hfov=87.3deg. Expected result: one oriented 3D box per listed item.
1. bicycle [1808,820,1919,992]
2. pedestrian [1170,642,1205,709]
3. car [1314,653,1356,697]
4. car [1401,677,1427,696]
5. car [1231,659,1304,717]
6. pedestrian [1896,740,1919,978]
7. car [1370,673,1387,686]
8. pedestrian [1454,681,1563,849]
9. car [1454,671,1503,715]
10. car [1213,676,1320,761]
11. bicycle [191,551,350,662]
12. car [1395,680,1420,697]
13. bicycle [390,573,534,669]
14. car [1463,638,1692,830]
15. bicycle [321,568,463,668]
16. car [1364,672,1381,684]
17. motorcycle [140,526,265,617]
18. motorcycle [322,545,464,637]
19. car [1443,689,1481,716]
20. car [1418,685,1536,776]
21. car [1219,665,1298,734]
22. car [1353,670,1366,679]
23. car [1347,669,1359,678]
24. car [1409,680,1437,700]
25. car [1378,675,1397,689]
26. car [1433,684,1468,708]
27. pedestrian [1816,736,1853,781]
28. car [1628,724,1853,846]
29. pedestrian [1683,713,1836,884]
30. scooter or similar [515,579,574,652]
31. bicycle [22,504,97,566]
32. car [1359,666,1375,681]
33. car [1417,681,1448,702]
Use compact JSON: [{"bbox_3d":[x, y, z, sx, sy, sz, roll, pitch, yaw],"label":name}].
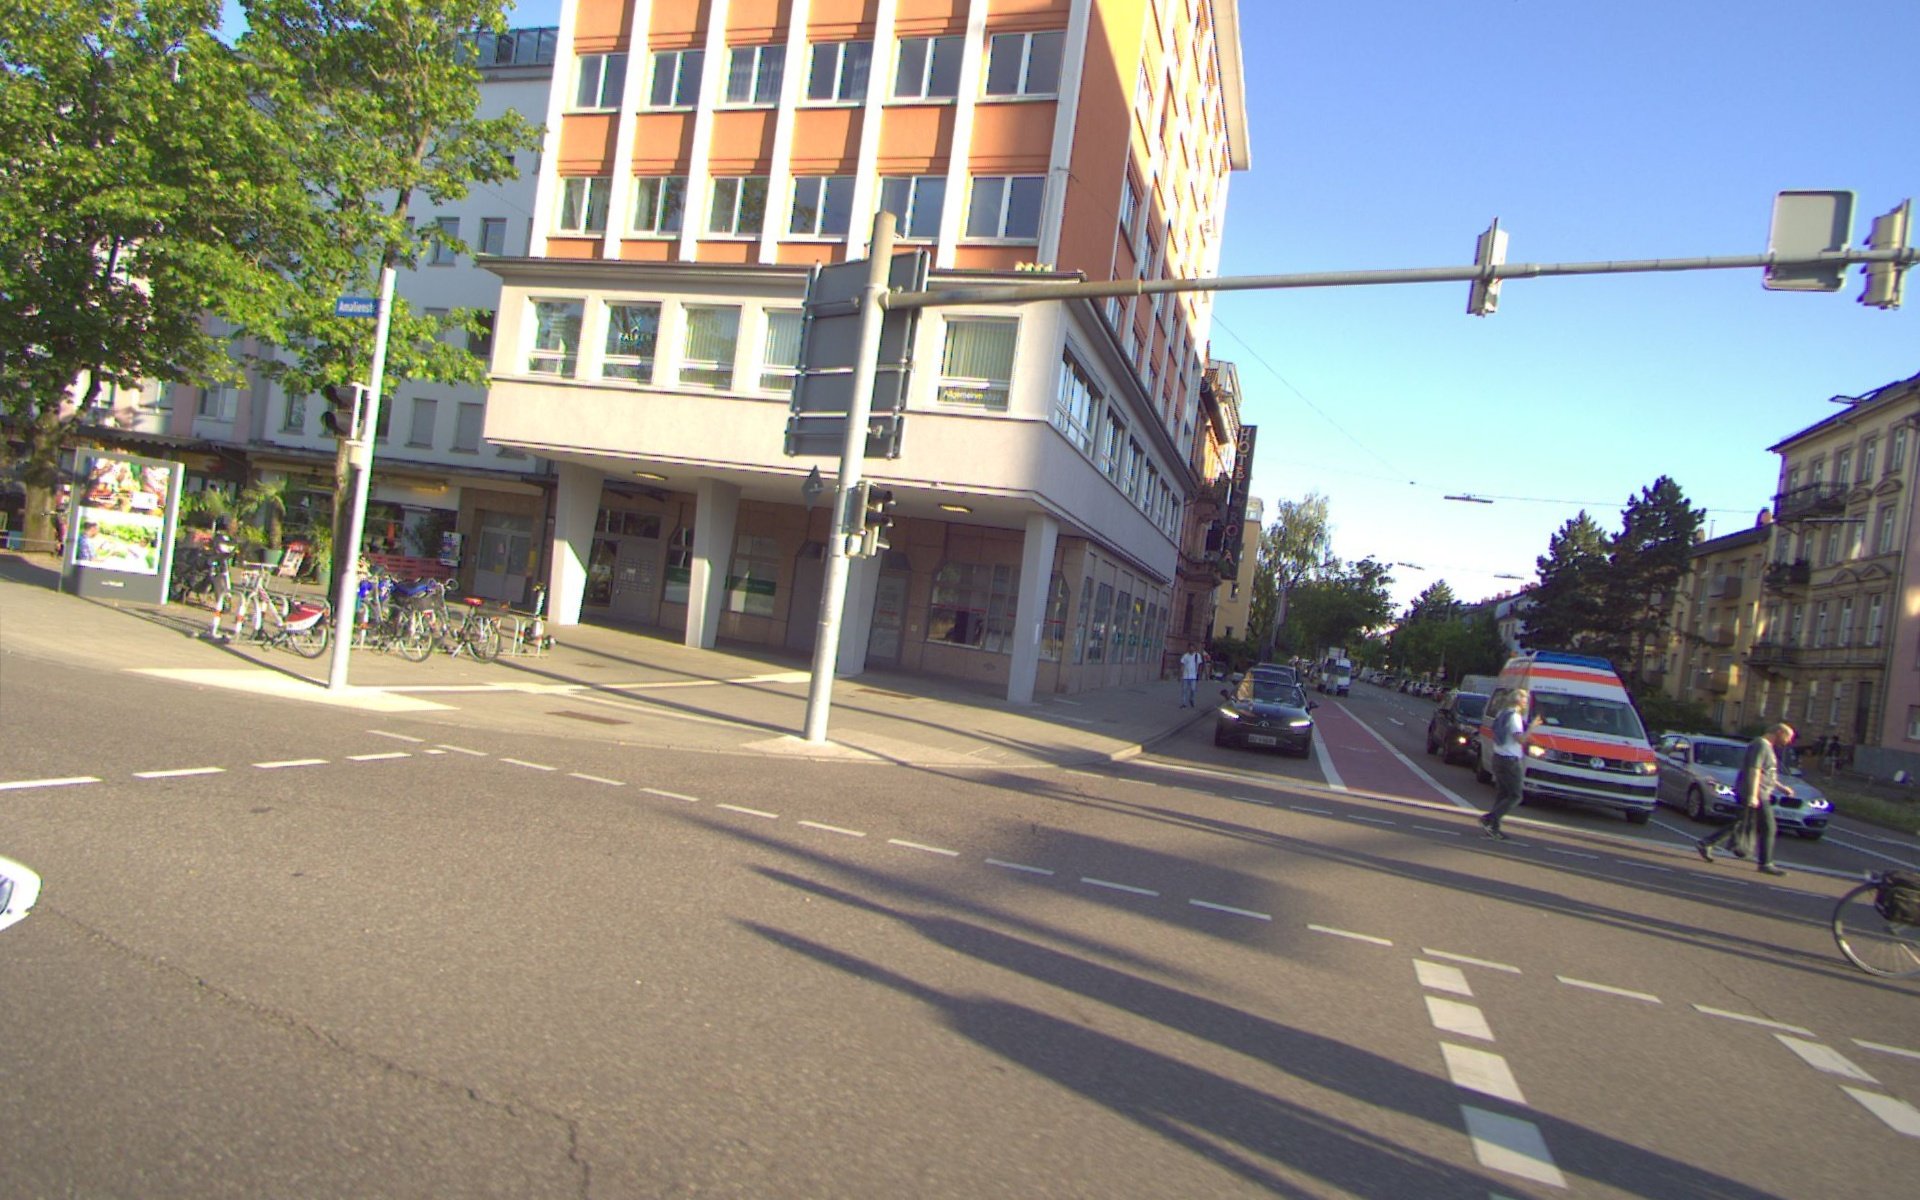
[{"bbox_3d":[6.941,2.166,6.709,1.817,0.992,0.522,6,0,25],"label":"bicycle"},{"bbox_3d":[6.397,2.114,28.226,0.628,1.778,0.819,8,0,21],"label":"pedestrian"},{"bbox_3d":[25.405,5.063,68.378,2.085,2.553,6.434,8,-1,18],"label":"car"},{"bbox_3d":[48.862,9.320,108.358,1.840,1.615,3.849,8,-1,17],"label":"car"},{"bbox_3d":[10.629,2.986,34.588,1.963,1.593,4.001,8,-1,21],"label":"car"},{"bbox_3d":[6.964,1.807,6.718,0.748,1.609,0.677,6,0,25],"label":"pedestrian"},{"bbox_3d":[64.846,12.273,155.803,1.840,1.615,3.849,8,-1,17],"label":"car"},{"bbox_3d":[6.194,1.838,11.407,0.797,1.722,0.570,8,1,20],"label":"pedestrian"},{"bbox_3d":[37.978,6.760,73.826,2.051,2.754,4.550,8,0,17],"label":"car"},{"bbox_3d":[6.569,2.398,21.220,1.806,1.356,4.678,5,-2,20],"label":"car"},{"bbox_3d":[-8.897,0.082,12.987,1.839,1.140,0.647,9,1,20],"label":"bicycle"},{"bbox_3d":[50.829,10.057,114.363,1.840,1.615,3.849,8,-1,17],"label":"car"},{"bbox_3d":[-7.819,0.329,15.783,2.085,1.172,0.647,9,1,20],"label":"bicycle"},{"bbox_3d":[10.265,2.099,17.248,1.890,2.512,5.270,8,-1,18],"label":"car"},{"bbox_3d":[-8.202,0.258,14.520,1.839,1.140,0.647,9,1,20],"label":"bicycle"},{"bbox_3d":[67.120,12.750,163.713,1.840,1.615,3.849,8,-1,17],"label":"car"},{"bbox_3d":[-12.907,-0.486,17.125,2.161,1.257,0.668,8,0,25],"label":"motorcycle"},{"bbox_3d":[-10.214,-0.126,18.220,0.747,1.423,2.049,8,-1,26],"label":"motorcycle"},{"bbox_3d":[39.594,8.060,79.445,1.840,1.615,3.849,8,-1,17],"label":"car"},{"bbox_3d":[11.955,2.943,23.502,1.567,1.589,4.087,8,-1,17],"label":"car"},{"bbox_3d":[8.354,2.688,27.952,1.723,1.528,3.776,8,-1,20],"label":"car"},{"bbox_3d":[80.317,14.959,202.466,1.840,1.615,3.849,8,-1,17],"label":"car"},{"bbox_3d":[85.609,15.998,219.282,1.840,1.615,3.849,8,-1,17],"label":"car"},{"bbox_3d":[47.001,9.128,102.205,1.840,1.615,3.849,8,-1,17],"label":"car"},{"bbox_3d":[59.638,11.408,140.354,1.840,1.615,3.849,8,-1,17],"label":"car"},{"bbox_3d":[41.491,8.107,85.215,1.840,1.615,3.849,8,-1,17],"label":"car"},{"bbox_3d":[34.796,6.302,40.022,0.698,1.595,0.728,8,0,16],"label":"pedestrian"},{"bbox_3d":[13.470,3.115,17.680,1.772,1.393,4.002,7,-1,19],"label":"car"},{"bbox_3d":[9.317,2.276,11.776,1.008,1.722,0.786,8,0,20],"label":"pedestrian"},{"bbox_3d":[-8.179,0.295,19.804,1.165,1.269,0.415,8,0,38],"label":"scooter or similar"},{"bbox_3d":[-20.556,-1.485,22.966,1.723,1.172,0.421,9,1,20],"label":"bicycle"},{"bbox_3d":[71.789,12.962,177.410,1.840,2.435,4.309,8,0,17],"label":"car"},{"bbox_3d":[44.973,8.657,95.828,1.840,1.615,3.849,8,-1,17],"label":"car"}]
